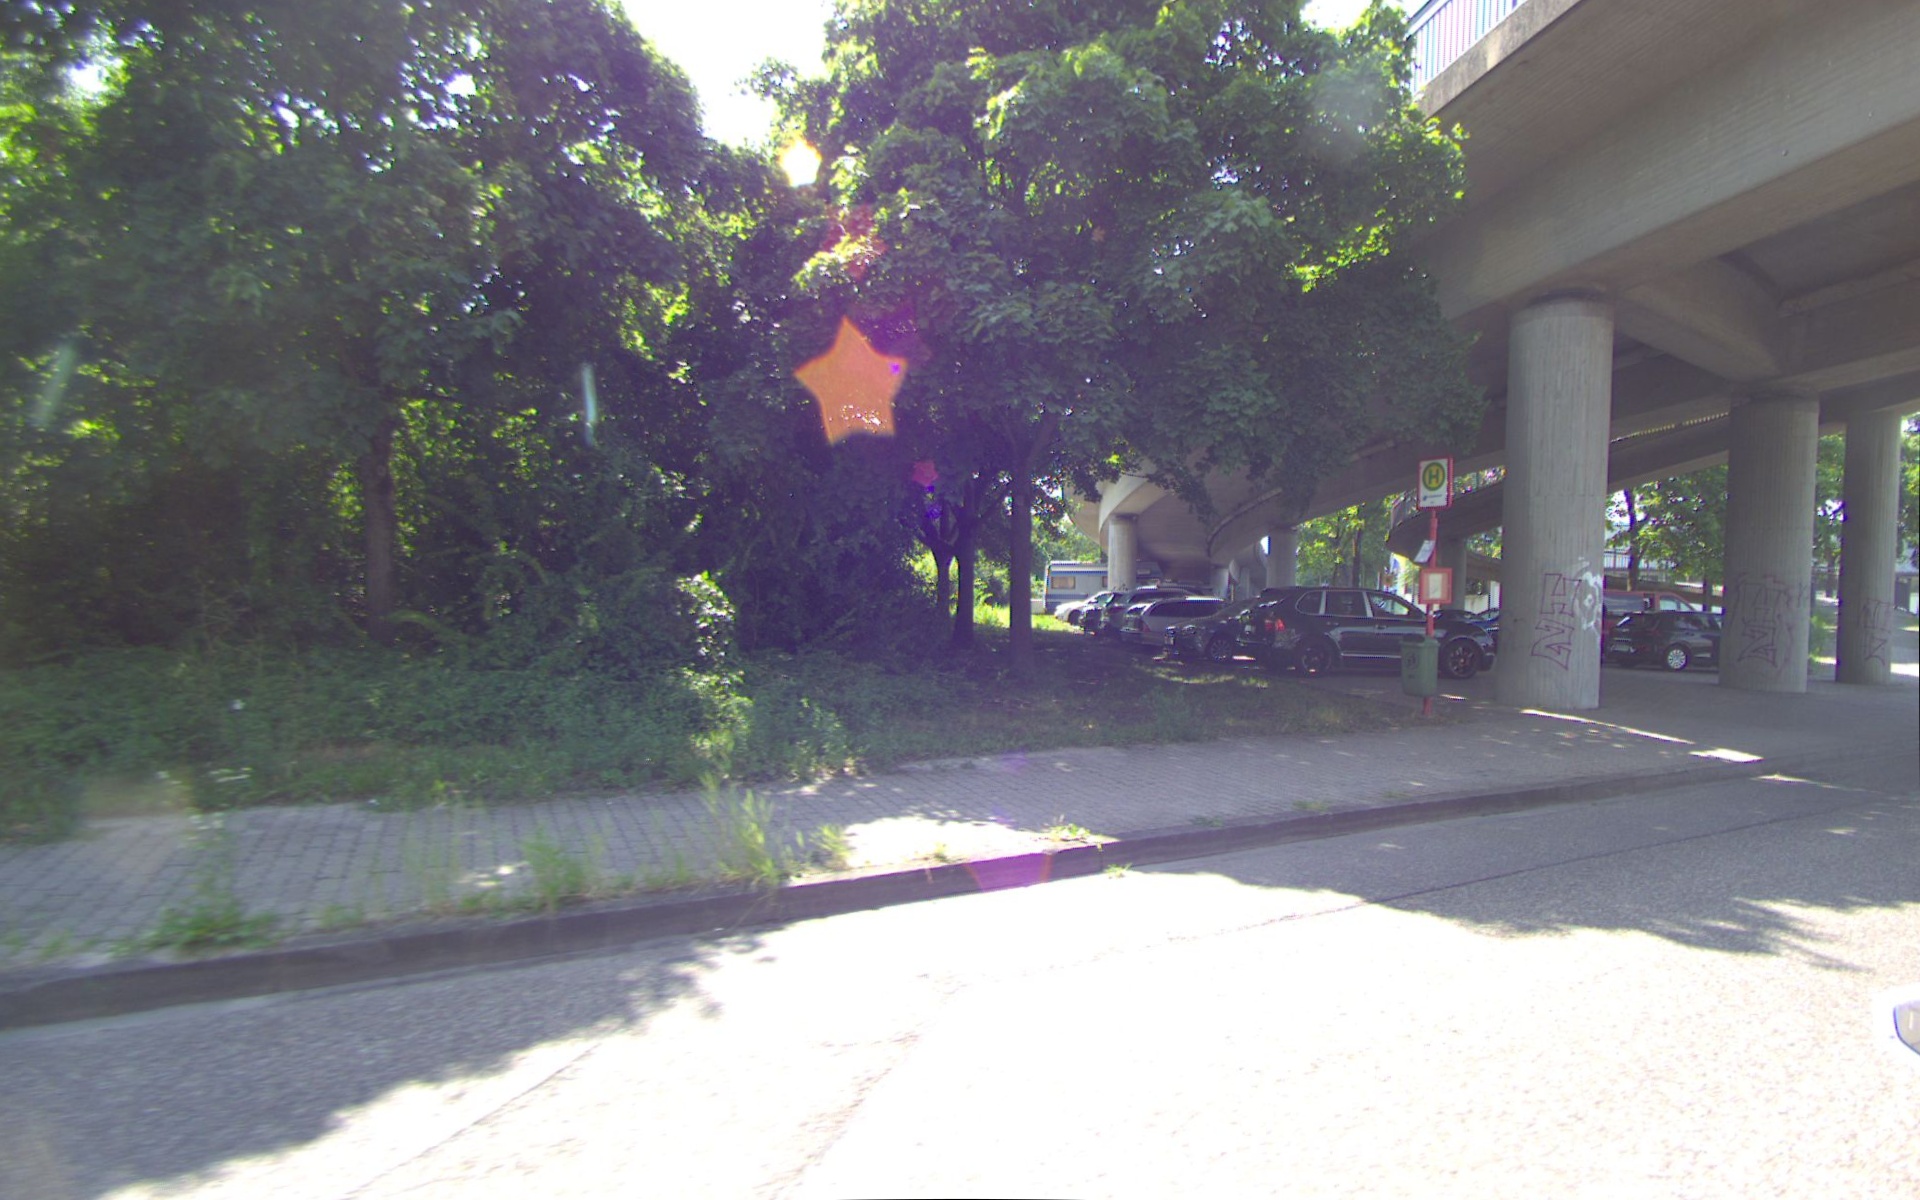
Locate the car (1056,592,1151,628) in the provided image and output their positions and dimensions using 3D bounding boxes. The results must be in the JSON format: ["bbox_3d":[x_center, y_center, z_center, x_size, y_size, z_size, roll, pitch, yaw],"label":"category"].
[{"bbox_3d":[6.109,0.427,42.923,3.943,1.464,1.711,1,0,7],"label":"car"}]

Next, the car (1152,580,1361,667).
[{"bbox_3d":[6.351,0.495,21.868,3.922,1.741,2.000,1,0,-2],"label":"car"}]

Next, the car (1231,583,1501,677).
[{"bbox_3d":[7.629,0.563,19.069,4.488,1.651,1.683,1,0,-6],"label":"car"}]

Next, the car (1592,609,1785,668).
[{"bbox_3d":[17.529,0.909,24.294,3.380,1.302,1.694,1,0,5],"label":"car"}]

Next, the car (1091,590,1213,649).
[{"bbox_3d":[5.326,0.530,28.112,3.032,1.569,1.554,1,0,-6],"label":"car"}]

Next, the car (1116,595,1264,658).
[{"bbox_3d":[5.713,0.653,25.174,3.207,1.471,1.754,1,0,-7],"label":"car"}]

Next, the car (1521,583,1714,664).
[{"bbox_3d":[17.696,0.614,27.197,3.878,2.040,1.948,1,0,5],"label":"car"}]

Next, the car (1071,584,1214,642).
[{"bbox_3d":[5.770,0.413,31.990,4.166,1.731,1.718,1,0,-6],"label":"car"}]
